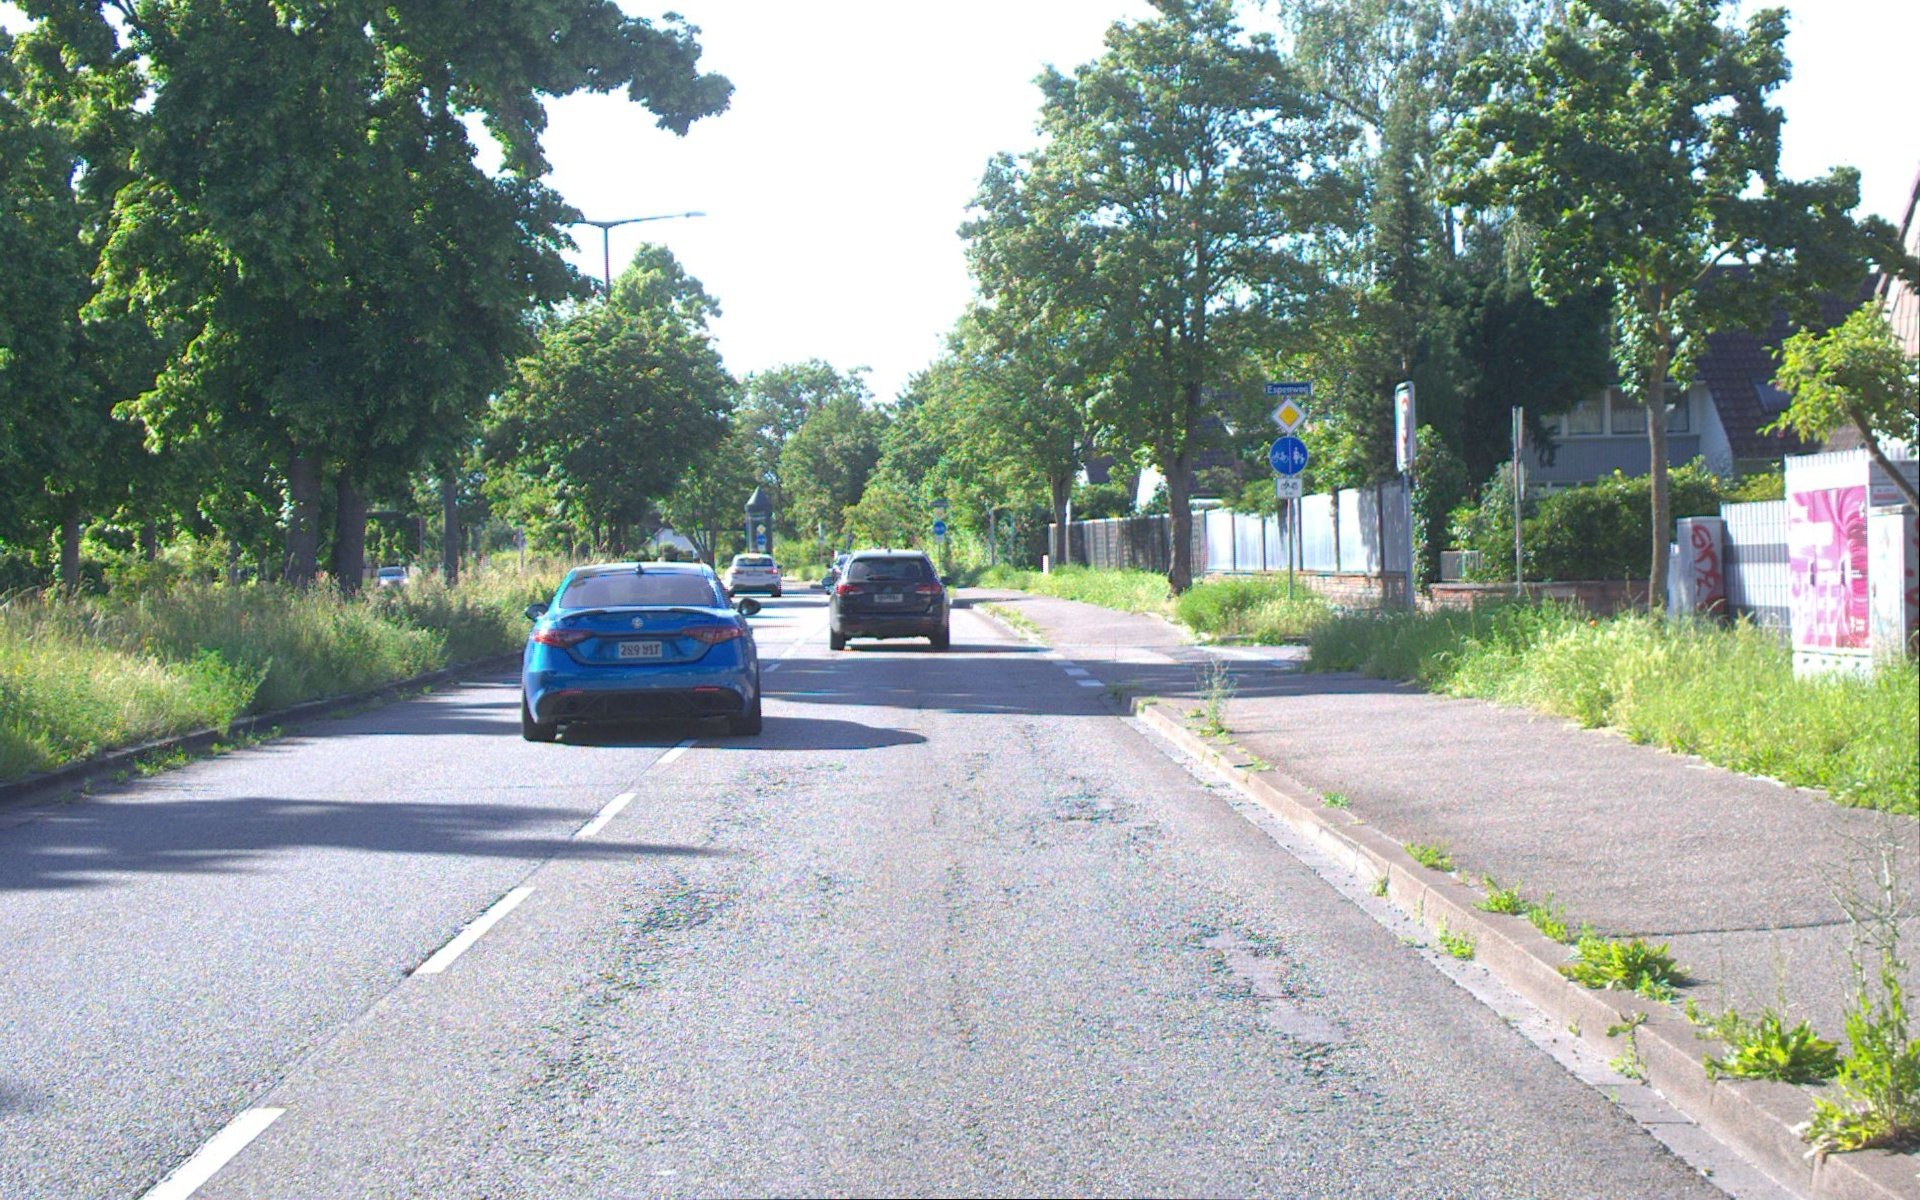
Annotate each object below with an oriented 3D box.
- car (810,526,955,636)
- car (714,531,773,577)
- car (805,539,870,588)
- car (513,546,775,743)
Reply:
[{"bbox_3d":[-1.203,-0.313,51.692,1.915,1.574,4.183,-1,1,-5],"label":"car"},{"bbox_3d":[-7.280,-1.578,115.901,1.915,1.507,4.068,-1,1,-3],"label":"car"},{"bbox_3d":[-4.309,-1.289,120.779,1.915,1.672,4.013,0,1,-7],"label":"car"},{"bbox_3d":[-2.555,0.321,28.640,1.838,1.469,4.185,-2,1,-1],"label":"car"}]
